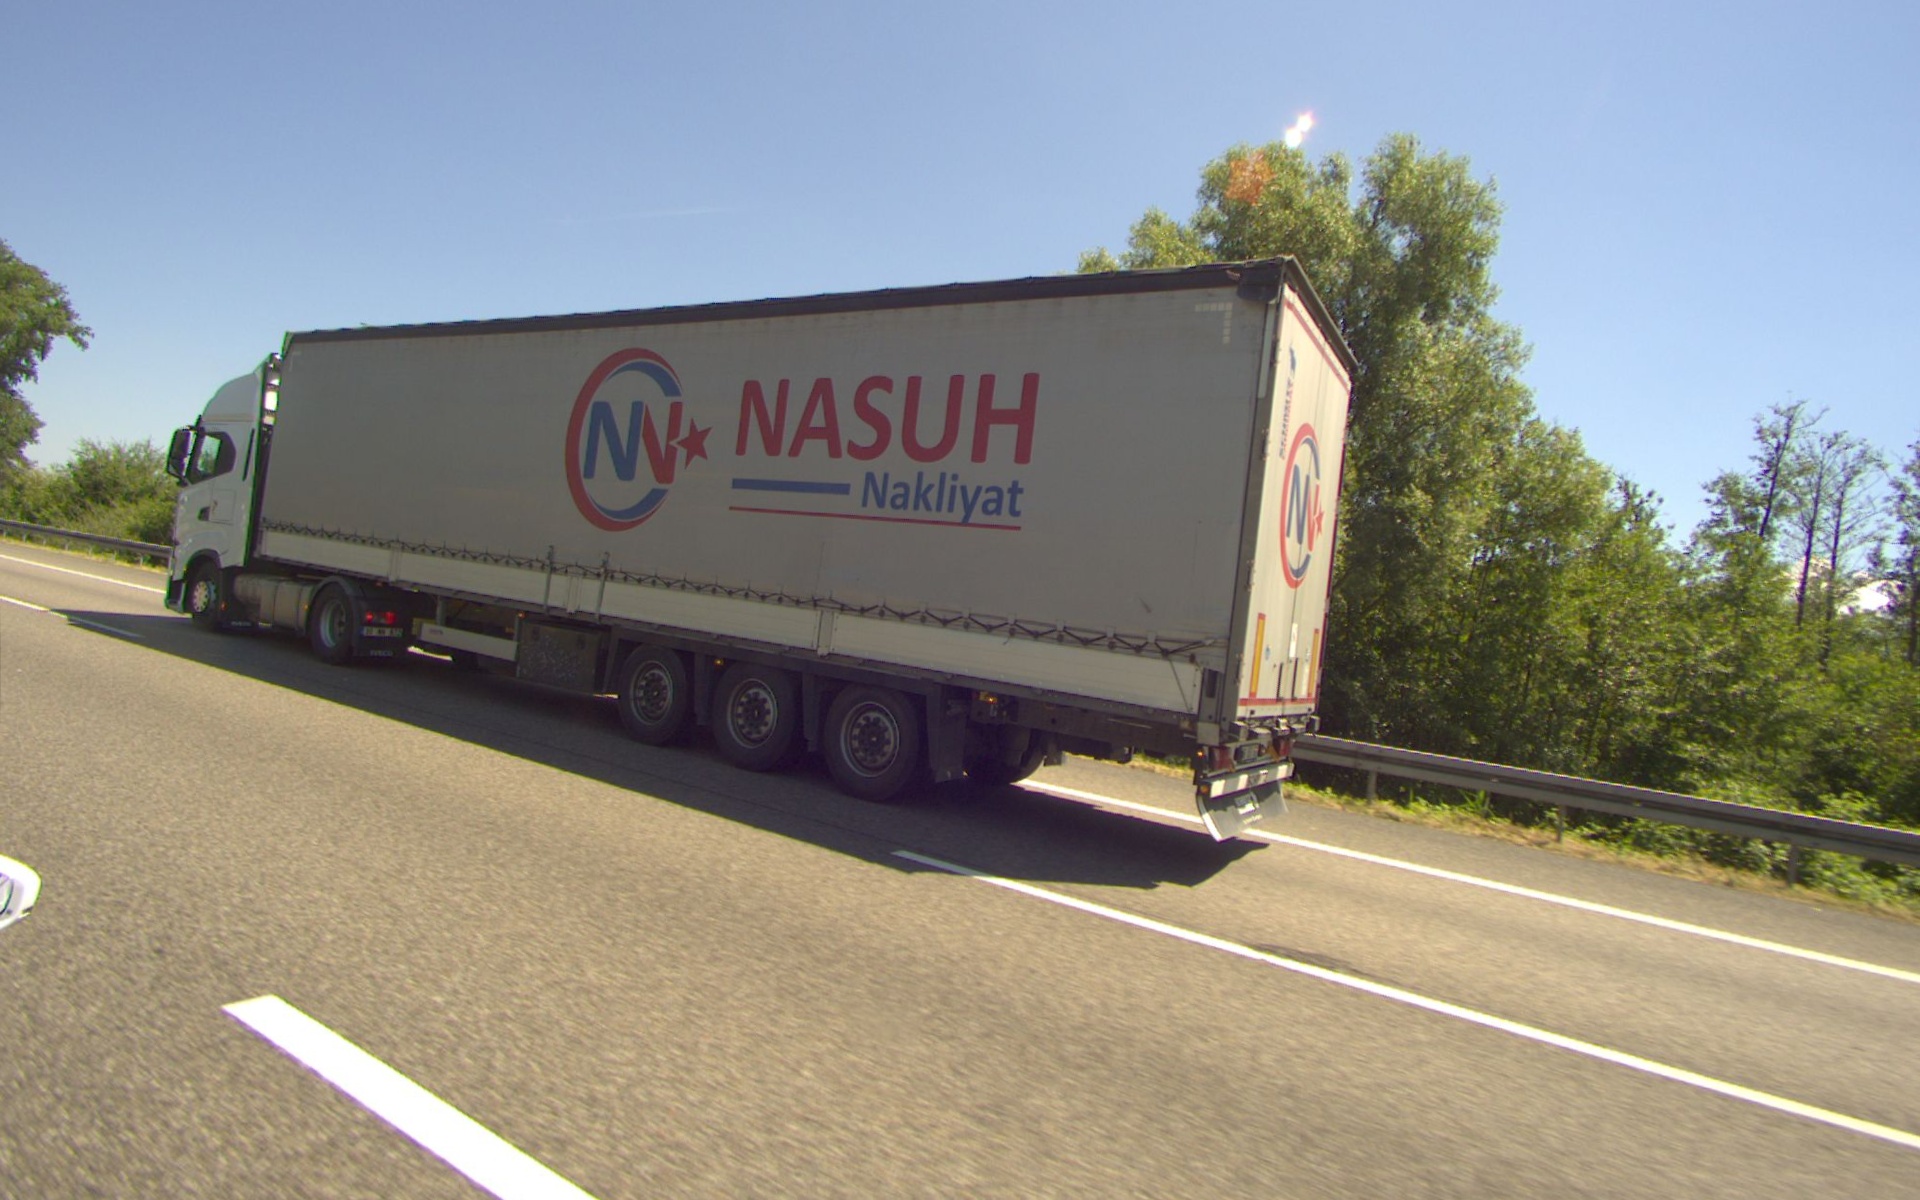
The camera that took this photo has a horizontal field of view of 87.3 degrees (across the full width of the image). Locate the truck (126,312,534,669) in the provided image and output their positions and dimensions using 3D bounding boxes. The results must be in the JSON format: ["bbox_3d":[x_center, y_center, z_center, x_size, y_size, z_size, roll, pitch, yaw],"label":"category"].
[{"bbox_3d":[-9.393,-1.527,14.922,5.345,4.337,2.611,6,-1,31],"label":"truck"}]

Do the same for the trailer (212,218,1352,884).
[{"bbox_3d":[-3.379,-0.829,11.203,13.827,4.310,2.629,6,-1,31],"label":"trailer"}]
